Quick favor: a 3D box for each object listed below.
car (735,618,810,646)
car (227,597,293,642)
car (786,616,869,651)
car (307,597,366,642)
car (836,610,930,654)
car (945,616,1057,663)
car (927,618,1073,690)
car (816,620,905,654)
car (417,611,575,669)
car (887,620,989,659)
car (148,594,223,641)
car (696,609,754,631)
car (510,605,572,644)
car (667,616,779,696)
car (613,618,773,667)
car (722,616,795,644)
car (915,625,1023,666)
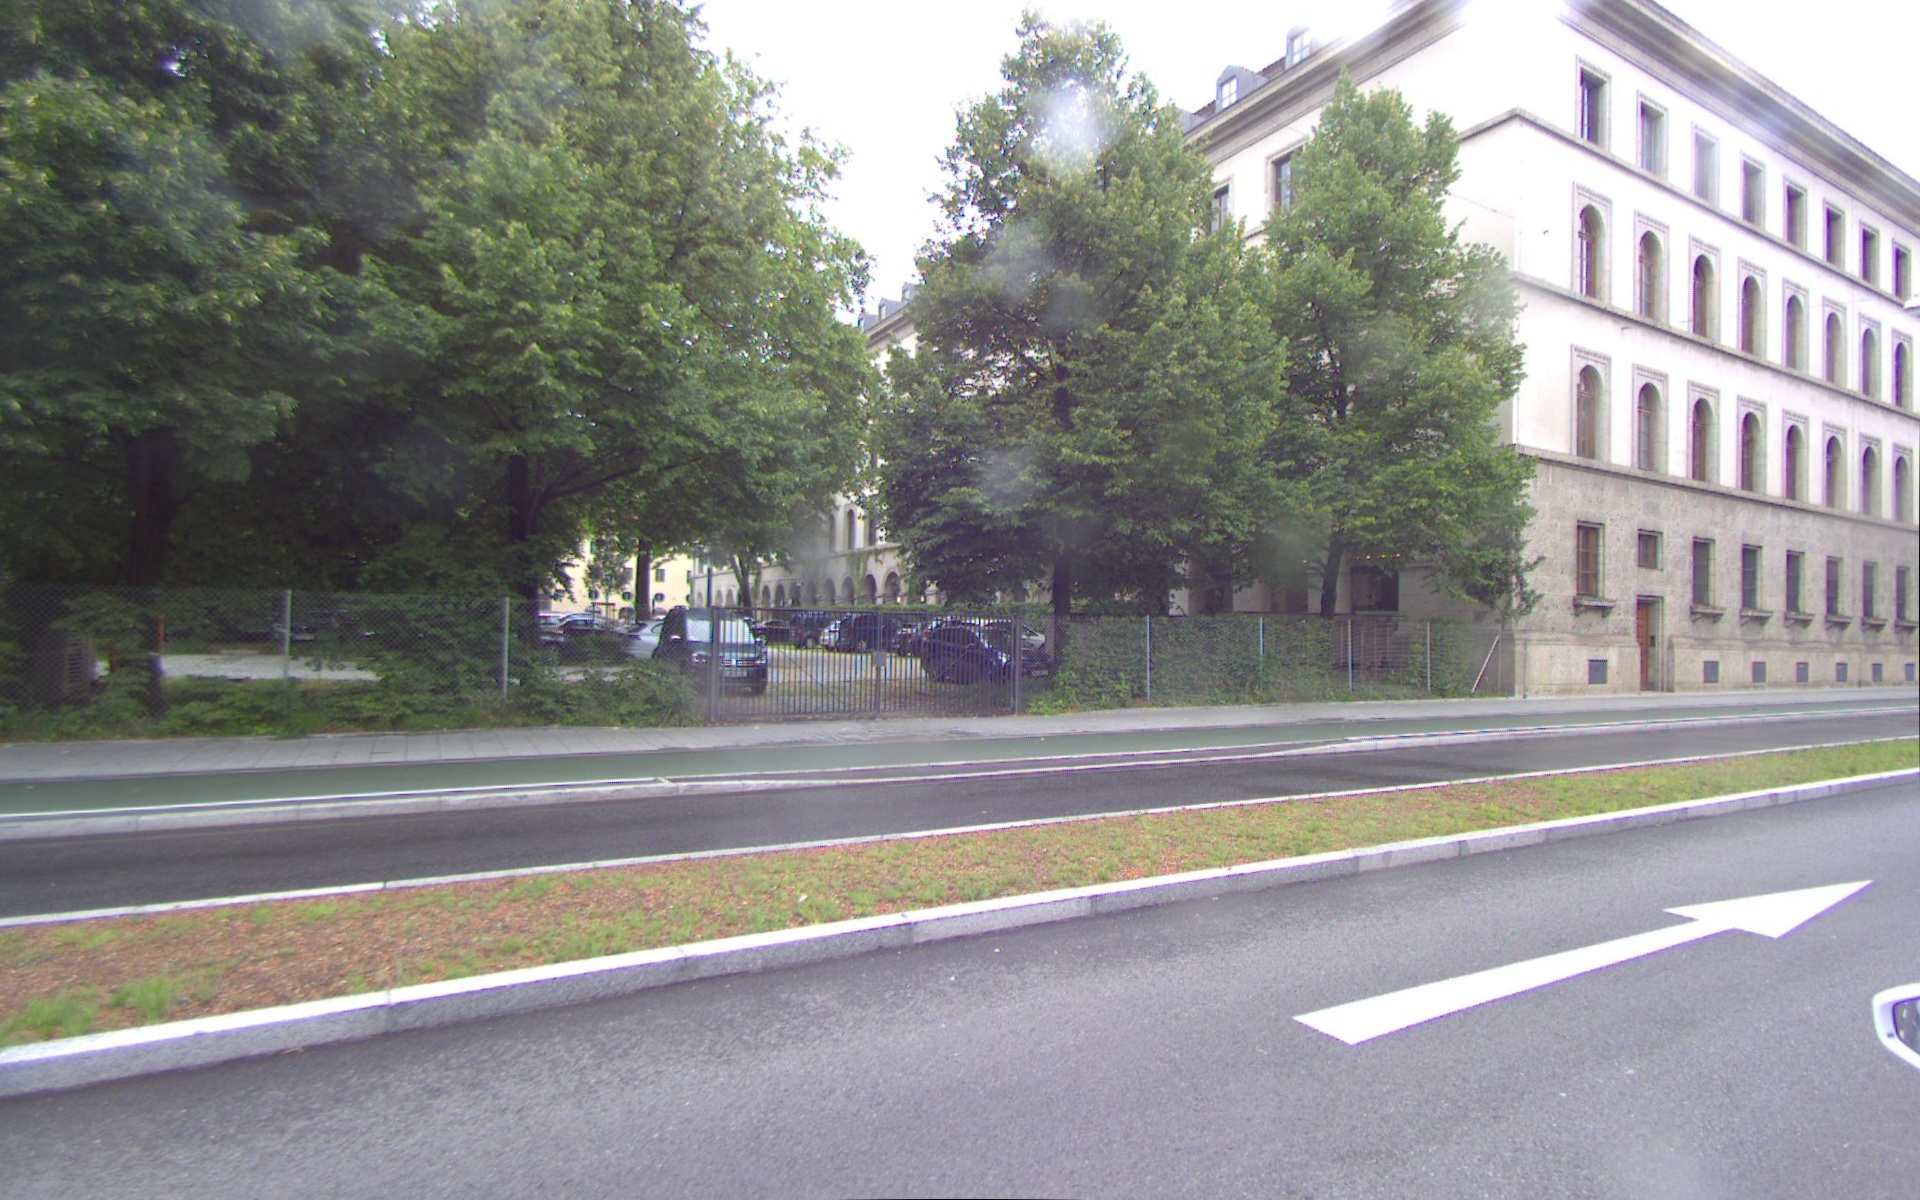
[{"bbox_3d":[-11.039,1.882,59.182,3.954,1.564,1.762,2,-2,-31],"label":"car"},{"bbox_3d":[-28.708,0.823,41.322,1.978,1.742,3.965,2,-2,-32],"label":"car"},{"bbox_3d":[-6.985,1.783,52.895,3.954,1.755,1.762,2,-2,-31],"label":"car"},{"bbox_3d":[-26.100,0.817,42.049,1.978,1.742,3.965,2,-2,-32],"label":"car"},{"bbox_3d":[-3.567,1.501,46.483,3.949,1.954,1.838,2,-2,-27],"label":"car"},{"bbox_3d":[1.553,1.490,37.929,3.954,1.661,1.657,2,-1,-31],"label":"car"},{"bbox_3d":[0.925,1.334,25.832,1.783,1.671,4.243,2,-2,-30],"label":"car"},{"bbox_3d":[-4.799,1.778,48.576,3.954,1.564,1.762,2,-2,-31],"label":"car"},{"bbox_3d":[-13.432,1.165,29.108,3.956,1.564,1.761,2,-2,-32],"label":"car"},{"bbox_3d":[-0.910,1.680,42.209,3.954,1.564,1.762,2,-2,-31],"label":"car"},{"bbox_3d":[-30.547,0.686,39.707,1.979,1.742,3.964,2,-2,-33],"label":"car"},{"bbox_3d":[-17.949,1.549,76.777,3.954,1.564,1.762,2,-2,-31],"label":"car"},{"bbox_3d":[-19.498,1.133,46.657,1.978,1.742,3.965,2,-2,-32],"label":"car"},{"bbox_3d":[-5.387,1.203,22.483,1.779,1.609,4.137,2,-2,-23],"label":"car"},{"bbox_3d":[-8.522,1.357,32.154,4.580,1.460,1.984,2,-2,-31],"label":"car"},{"bbox_3d":[-12.270,1.832,61.173,3.954,1.564,1.762,2,-2,-31],"label":"car"},{"bbox_3d":[0.379,1.821,40.107,3.954,1.564,1.762,2,-2,-31],"label":"car"}]
